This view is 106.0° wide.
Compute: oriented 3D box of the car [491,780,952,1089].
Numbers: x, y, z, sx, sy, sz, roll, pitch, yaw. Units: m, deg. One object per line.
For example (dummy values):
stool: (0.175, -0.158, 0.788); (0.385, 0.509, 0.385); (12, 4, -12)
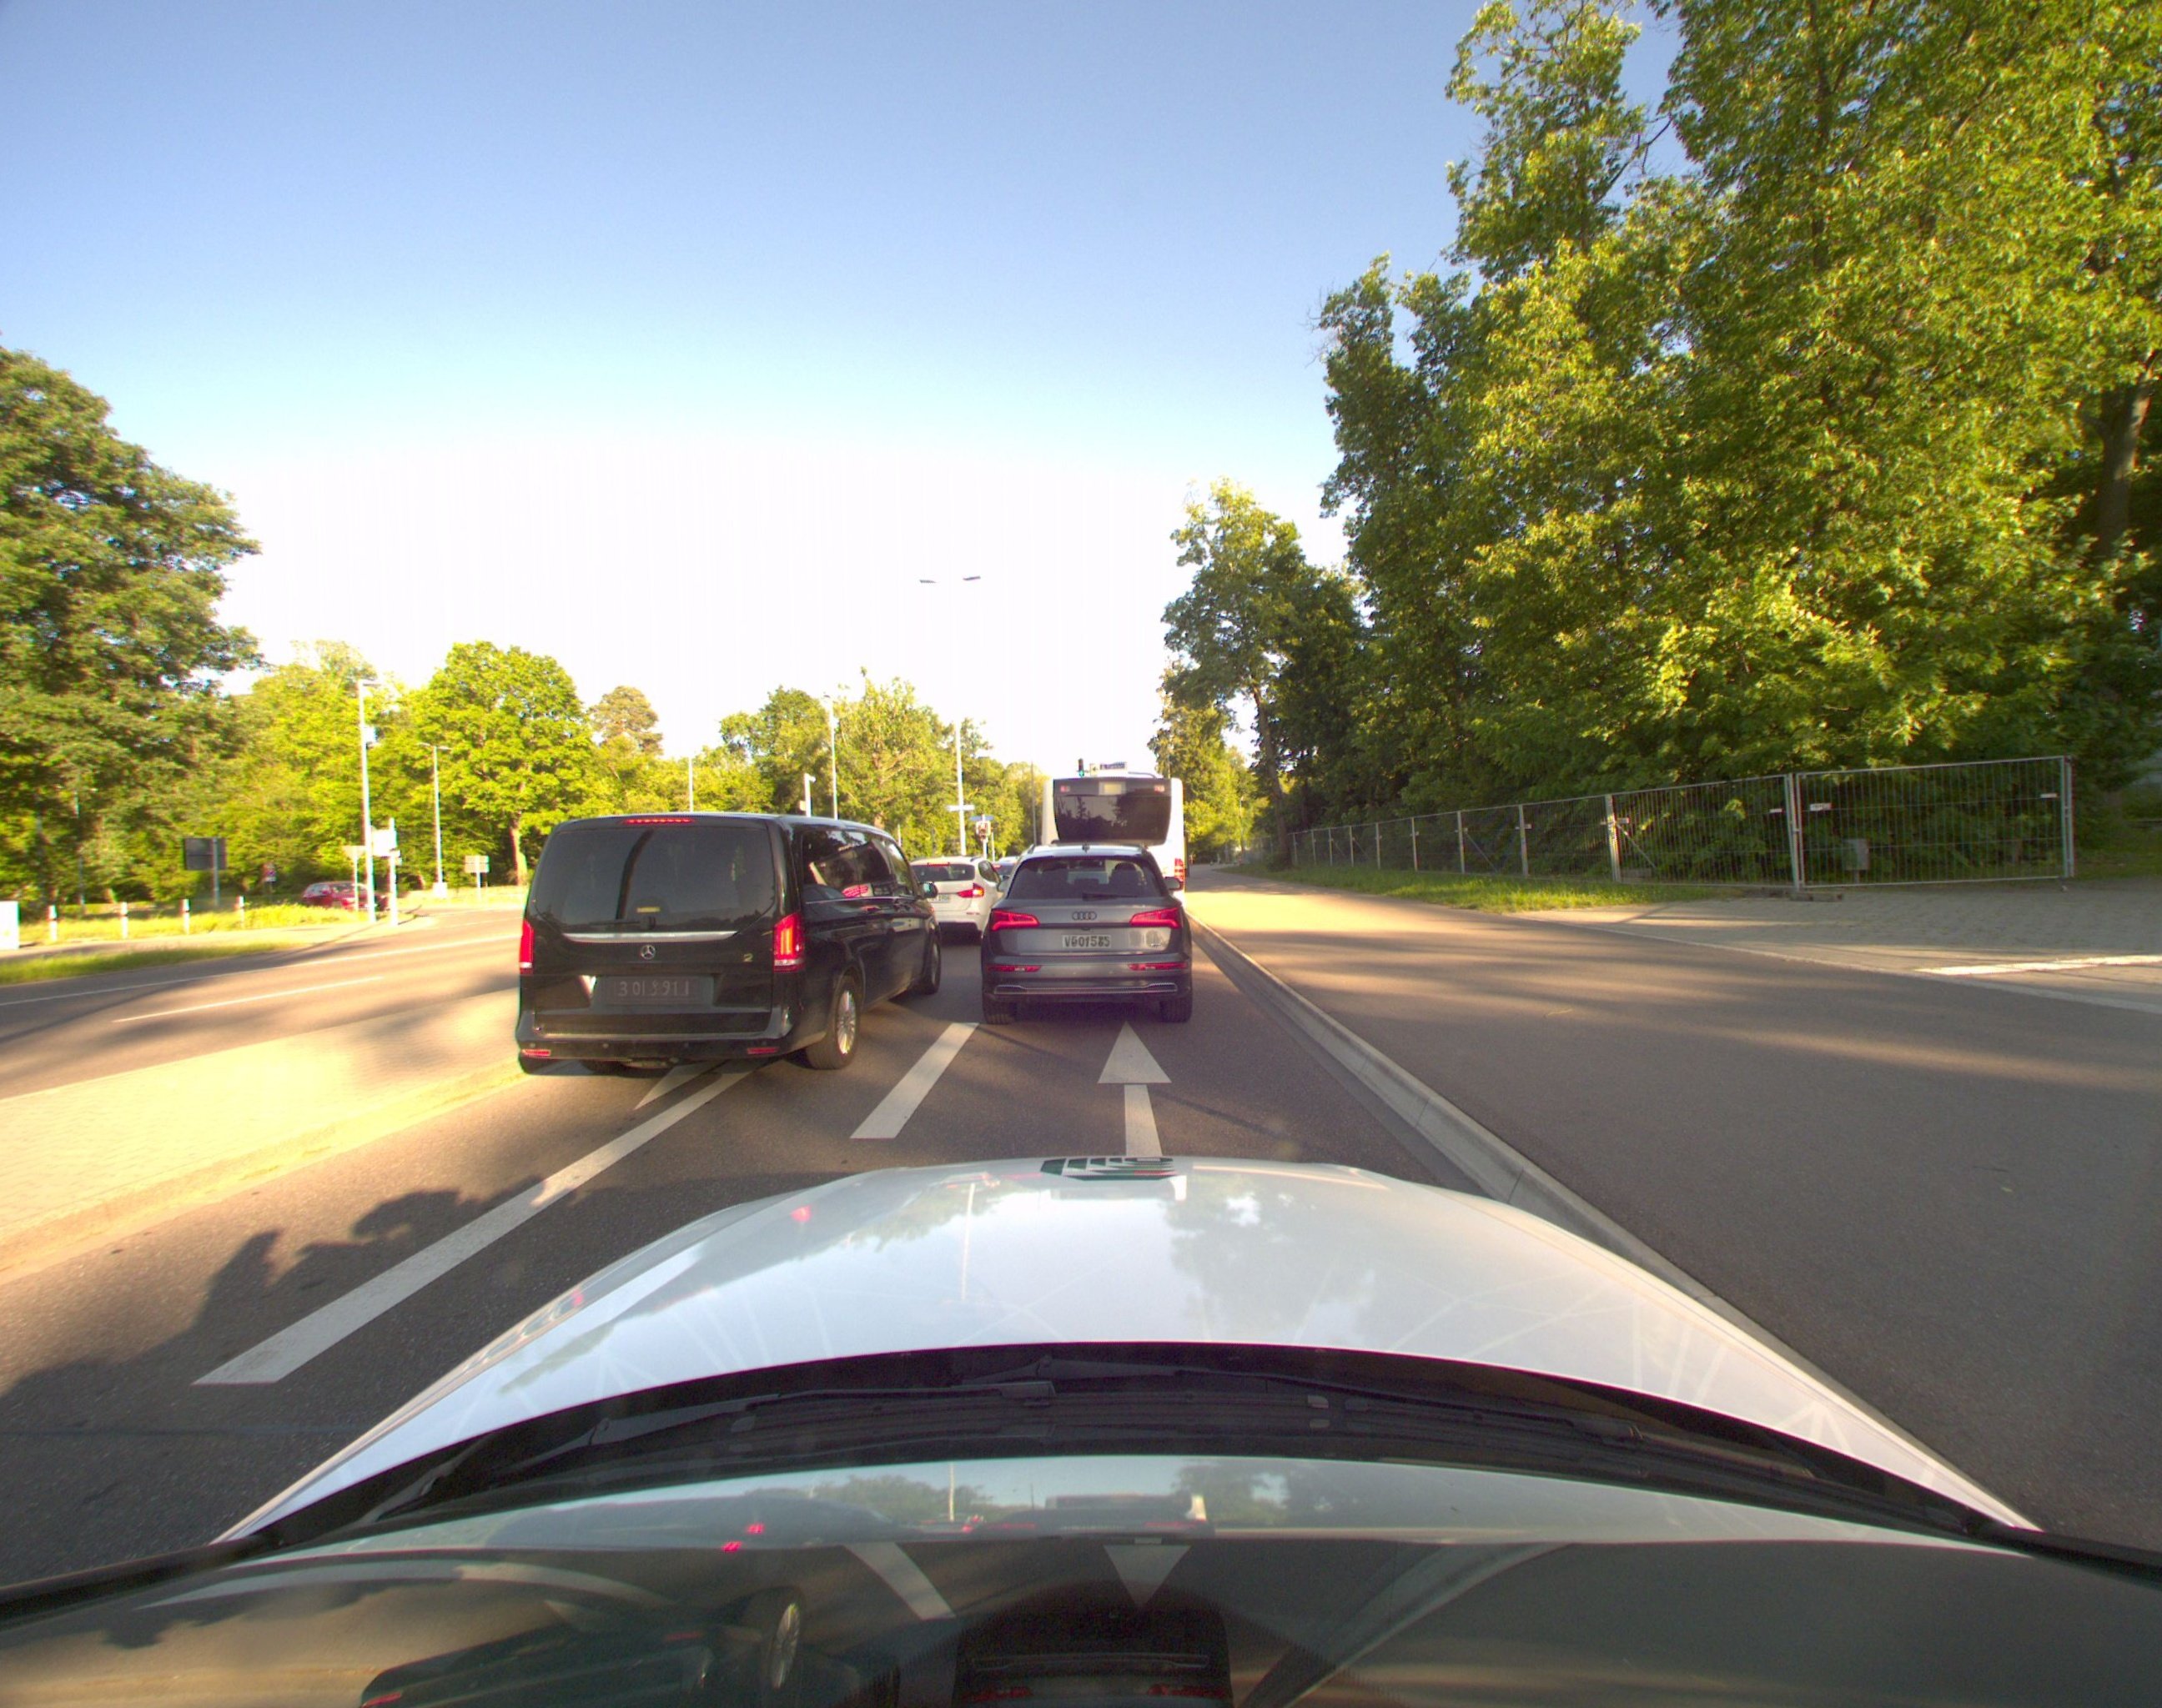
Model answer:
car: (-2.569, 0.496, 7.374); (1.900, 1.856, 4.874); (0, 0, 1)

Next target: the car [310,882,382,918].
car: (-36.933, 2.253, 40.890); (3.948, 1.618, 2.013); (-1, -1, 38)

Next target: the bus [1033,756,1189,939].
bus: (0.679, -0.133, 17.023); (2.667, 3.142, 5.887); (0, 0, 3)

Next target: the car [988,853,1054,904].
car: (-1.979, 0.794, 27.922); (1.801, 1.572, 4.002); (0, 1, 2)

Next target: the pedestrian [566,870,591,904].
pedestrian: (-23.342, 1.541, 37.819); (0.736, 1.544, 0.674); (0, -1, 4)

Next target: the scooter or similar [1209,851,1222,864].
scooter or similar: (12.867, 0.315, 77.929); (1.175, 1.174, 0.661); (0, 0, 13)

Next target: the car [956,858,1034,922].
car: (-2.160, 0.859, 21.461); (1.781, 1.444, 4.274); (0, 1, -3)

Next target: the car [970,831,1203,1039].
car: (0.107, 0.634, 8.540); (1.861, 1.663, 4.002); (0, 1, 2)

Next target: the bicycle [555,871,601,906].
bicycle: (-23.357, 1.600, 37.848); (0.747, 1.551, 2.024); (0, -1, 5)

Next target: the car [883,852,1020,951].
car: (-2.258, 0.760, 15.354); (1.712, 1.581, 4.436); (0, 0, 2)
